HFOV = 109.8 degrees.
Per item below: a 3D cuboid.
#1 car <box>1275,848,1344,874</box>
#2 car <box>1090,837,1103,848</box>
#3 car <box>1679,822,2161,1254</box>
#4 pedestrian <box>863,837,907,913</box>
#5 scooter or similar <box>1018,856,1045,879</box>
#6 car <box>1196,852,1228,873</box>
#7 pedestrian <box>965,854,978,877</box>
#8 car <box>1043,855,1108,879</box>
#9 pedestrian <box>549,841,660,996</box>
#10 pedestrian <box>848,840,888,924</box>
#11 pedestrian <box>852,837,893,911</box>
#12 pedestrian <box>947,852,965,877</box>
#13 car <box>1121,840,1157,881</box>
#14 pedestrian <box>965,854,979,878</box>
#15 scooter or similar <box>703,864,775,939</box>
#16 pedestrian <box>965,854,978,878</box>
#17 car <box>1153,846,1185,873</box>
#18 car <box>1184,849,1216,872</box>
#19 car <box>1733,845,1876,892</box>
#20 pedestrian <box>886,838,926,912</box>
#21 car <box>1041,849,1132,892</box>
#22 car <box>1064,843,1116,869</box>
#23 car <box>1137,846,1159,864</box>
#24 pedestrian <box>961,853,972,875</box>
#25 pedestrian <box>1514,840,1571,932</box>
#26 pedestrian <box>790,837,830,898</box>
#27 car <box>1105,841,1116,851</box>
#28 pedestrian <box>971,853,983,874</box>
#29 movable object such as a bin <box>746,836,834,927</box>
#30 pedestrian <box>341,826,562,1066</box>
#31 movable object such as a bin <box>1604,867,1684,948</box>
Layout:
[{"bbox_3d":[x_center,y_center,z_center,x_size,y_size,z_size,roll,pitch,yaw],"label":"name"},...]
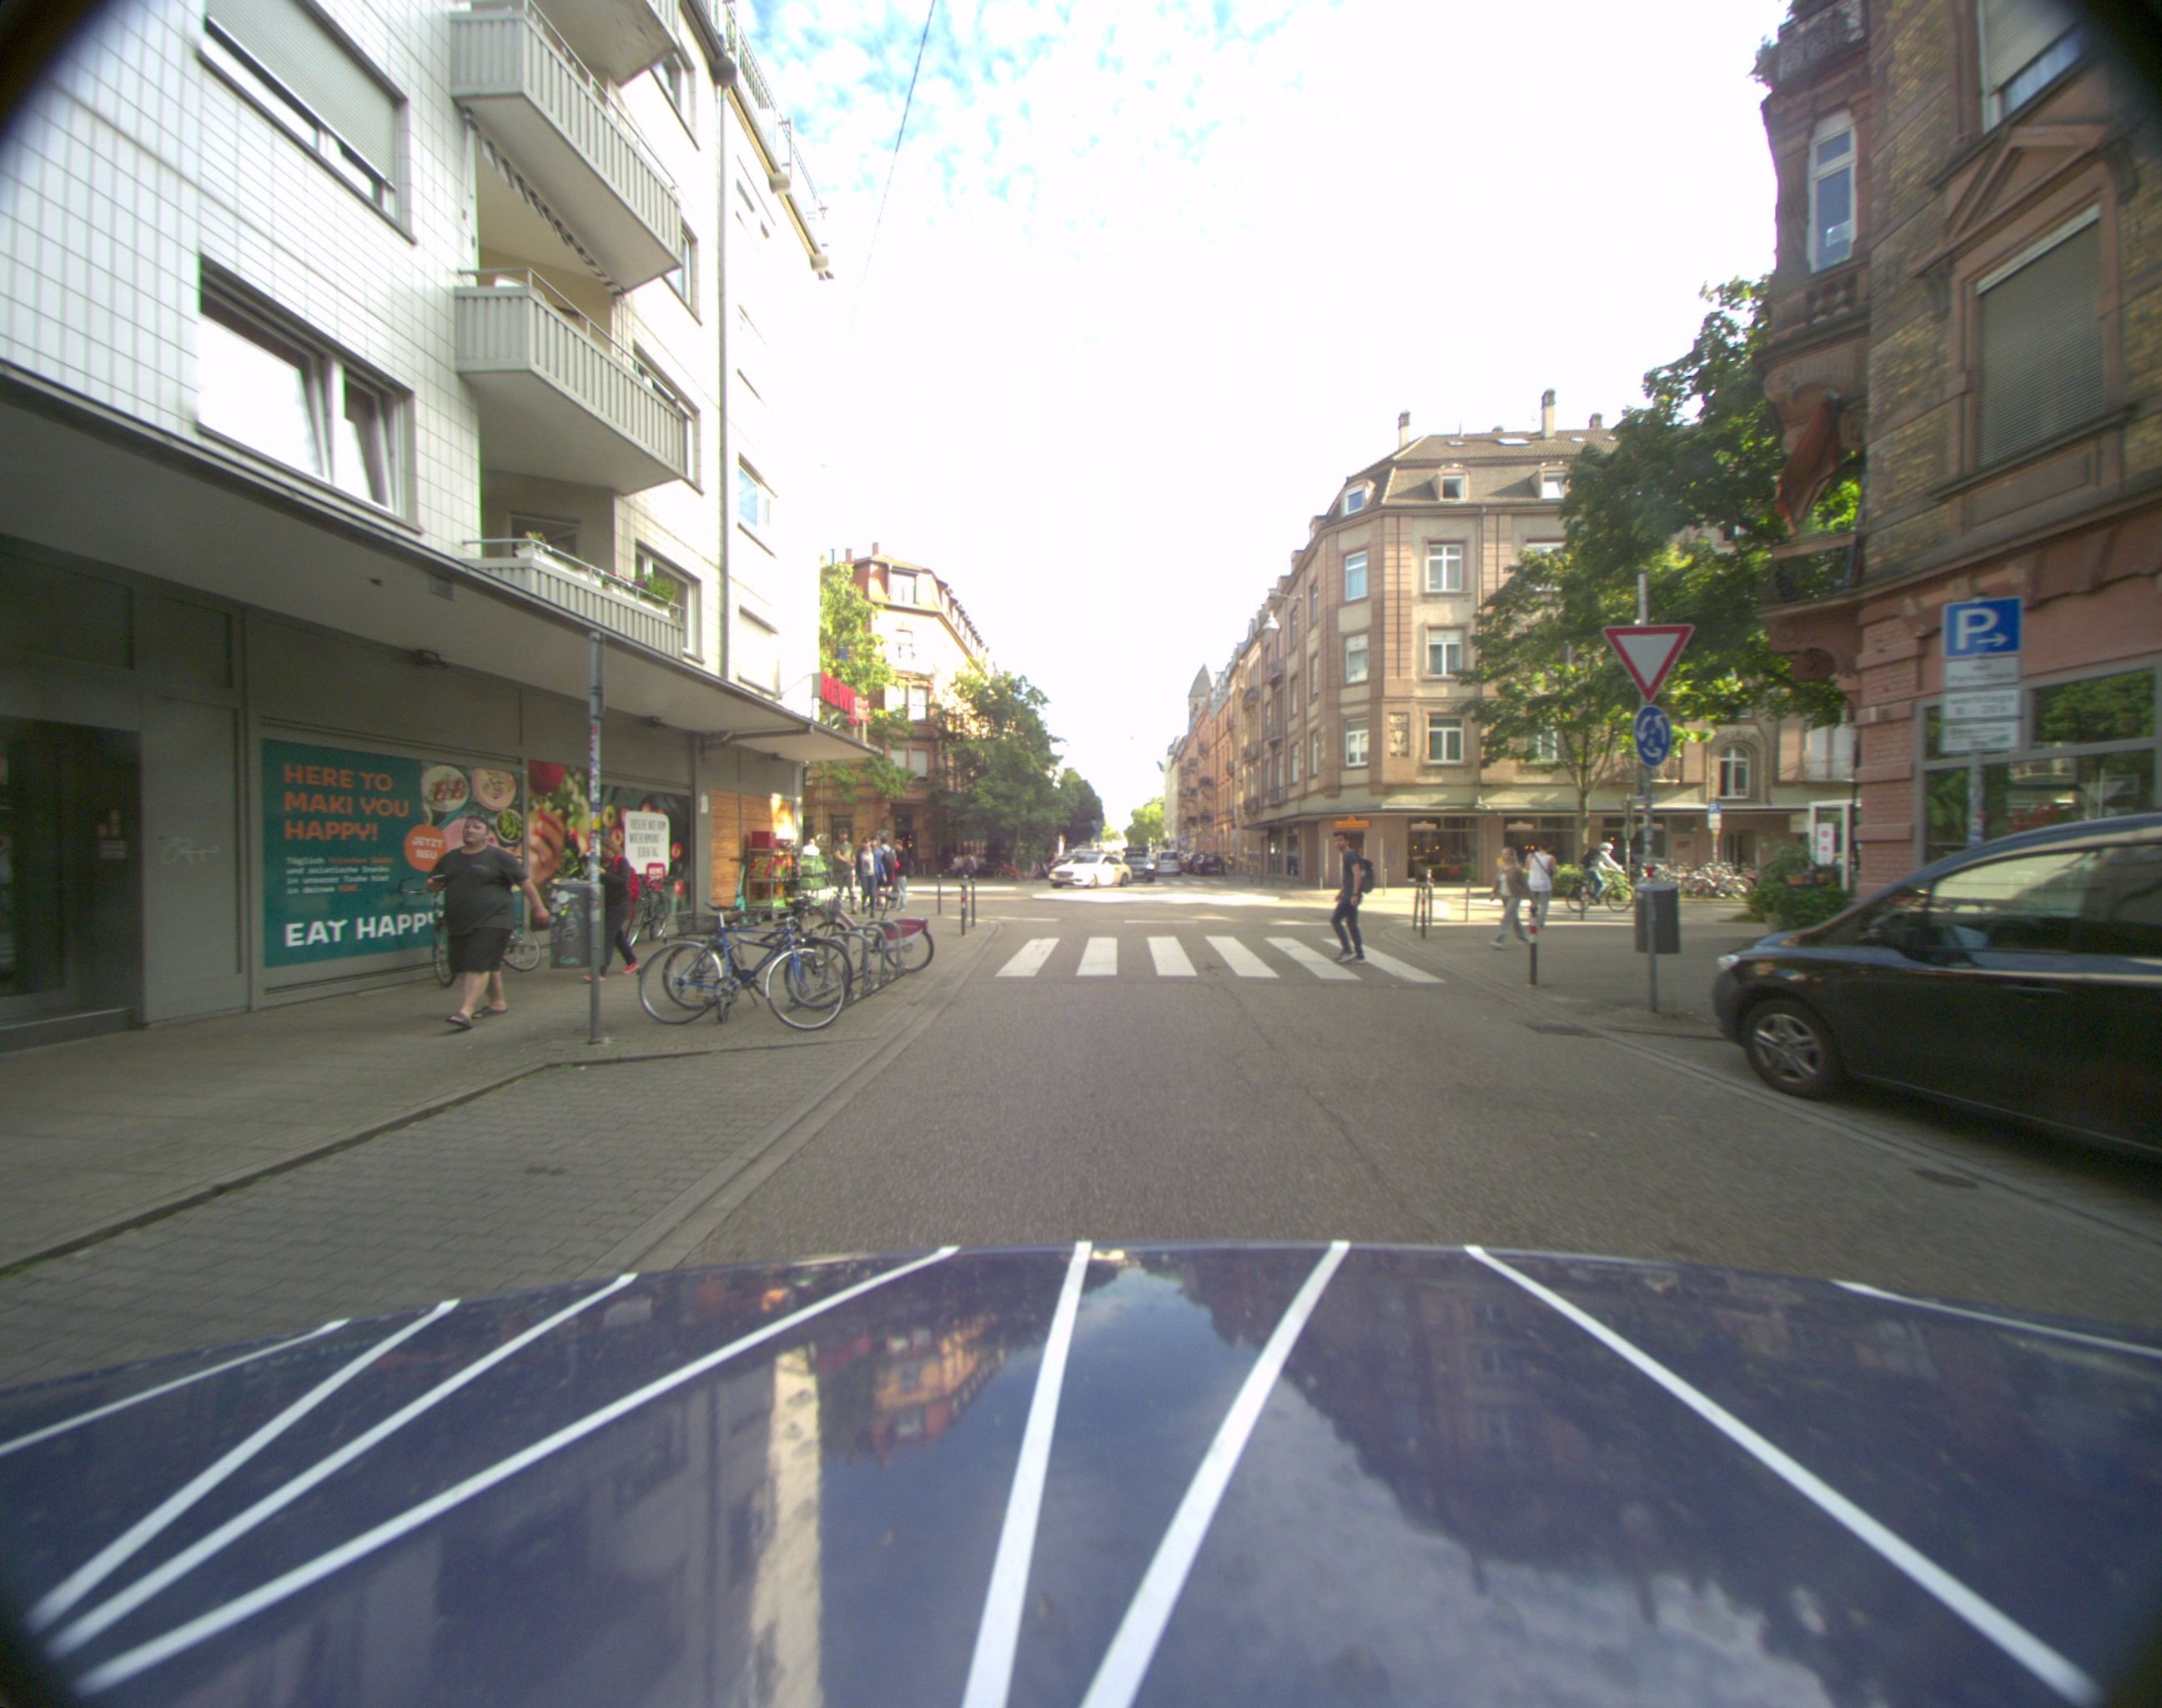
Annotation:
[{"bbox_3d":[15.270,0.461,50.897,3.999,1.611,1.999,-1,0,-6],"label":"car"},{"bbox_3d":[2.411,-1.824,120.335,1.850,1.724,3.999,-1,0,-3],"label":"car"},{"bbox_3d":[5.314,0.735,3.437,1.764,1.763,4.406,-2,0,1],"label":"car"},{"bbox_3d":[-4.713,0.501,18.299,0.712,1.786,0.634,3,0,36],"label":"pedestrian"},{"bbox_3d":[-2.636,0.742,40.398,1.289,1.203,0.557,-1,-2,27],"label":"scooter or similar"},{"bbox_3d":[8.883,0.539,51.863,1.723,1.360,3.830,-1,0,3],"label":"car"},{"bbox_3d":[-6.134,0.635,42.524,0.729,1.307,0.607,0,0,-9],"label":"pedestrian"},{"bbox_3d":[-0.341,0.787,46.548,3.592,1.372,1.510,2,0,-22],"label":"car"},{"bbox_3d":[-5.257,0.687,8.417,0.724,1.623,0.712,2,1,1],"label":"pedestrian"},{"bbox_3d":[-4.530,0.580,16.186,0.766,1.743,0.929,0,1,-13],"label":"pedestrian"},{"bbox_3d":[-5.185,0.499,18.908,0.654,1.786,0.660,3,0,16],"label":"pedestrian"},{"bbox_3d":[-6.915,0.554,41.992,0.715,1.371,0.671,1,2,38],"label":"pedestrian"},{"bbox_3d":[3.168,0.320,40.816,1.792,2.051,4.002,0,0,6],"label":"car"},{"bbox_3d":[-6.008,0.632,41.893,0.729,1.307,0.520,0,0,-9],"label":"pedestrian"},{"bbox_3d":[-5.907,0.792,13.182,0.633,1.206,1.256,2,0,0],"label":"scooter or similar"},{"bbox_3d":[-5.966,0.631,41.352,0.729,1.307,0.520,0,0,-9],"label":"pedestrian"},{"bbox_3d":[6.209,0.410,53.857,1.833,1.780,4.332,-3,-1,2],"label":"car"},{"bbox_3d":[8.867,0.464,56.890,1.861,1.575,4.399,-1,1,3],"label":"car"},{"bbox_3d":[24.778,0.466,26.215,1.575,1.468,3.700,-1,0,4],"label":"car"},{"bbox_3d":[-4.368,0.517,18.937,0.716,1.786,0.630,3,0,-32],"label":"pedestrian"},{"bbox_3d":[0.328,0.623,32.502,1.940,1.588,4.844,1,2,27],"label":"car"},{"bbox_3d":[0.875,0.175,74.558,4.746,2.409,1.995,-1,0,-29],"label":"car"},{"bbox_3d":[6.322,0.075,71.595,1.998,1.624,4.846,0,0,4],"label":"car"},{"bbox_3d":[-6.678,0.569,44.368,0.549,1.293,0.620,0,2,-21],"label":"pedestrian"},{"bbox_3d":[8.746,0.568,14.401,0.802,1.661,1.024,2,3,36],"label":"pedestrian"},{"bbox_3d":[-8.404,0.412,23.554,0.889,1.824,1.044,1,1,-35],"label":"pedestrian"},{"bbox_3d":[5.984,-1.609,155.085,1.998,1.877,4.001,-1,0,5],"label":"car"},{"bbox_3d":[-6.077,0.552,44.425,0.549,1.225,0.620,0,2,-21],"label":"pedestrian"},{"bbox_3d":[-5.955,0.518,15.740,0.781,1.734,2.423,0,1,3],"label":"movable object such as a bin"},{"bbox_3d":[-4.994,0.675,6.115,0.851,1.736,1.049,2,0,1],"label":"pedestrian"},{"bbox_3d":[5.275,0.490,7.134,0.384,0.710,0.476,-1,0,-1],"label":"movable object such as a bin"}]
